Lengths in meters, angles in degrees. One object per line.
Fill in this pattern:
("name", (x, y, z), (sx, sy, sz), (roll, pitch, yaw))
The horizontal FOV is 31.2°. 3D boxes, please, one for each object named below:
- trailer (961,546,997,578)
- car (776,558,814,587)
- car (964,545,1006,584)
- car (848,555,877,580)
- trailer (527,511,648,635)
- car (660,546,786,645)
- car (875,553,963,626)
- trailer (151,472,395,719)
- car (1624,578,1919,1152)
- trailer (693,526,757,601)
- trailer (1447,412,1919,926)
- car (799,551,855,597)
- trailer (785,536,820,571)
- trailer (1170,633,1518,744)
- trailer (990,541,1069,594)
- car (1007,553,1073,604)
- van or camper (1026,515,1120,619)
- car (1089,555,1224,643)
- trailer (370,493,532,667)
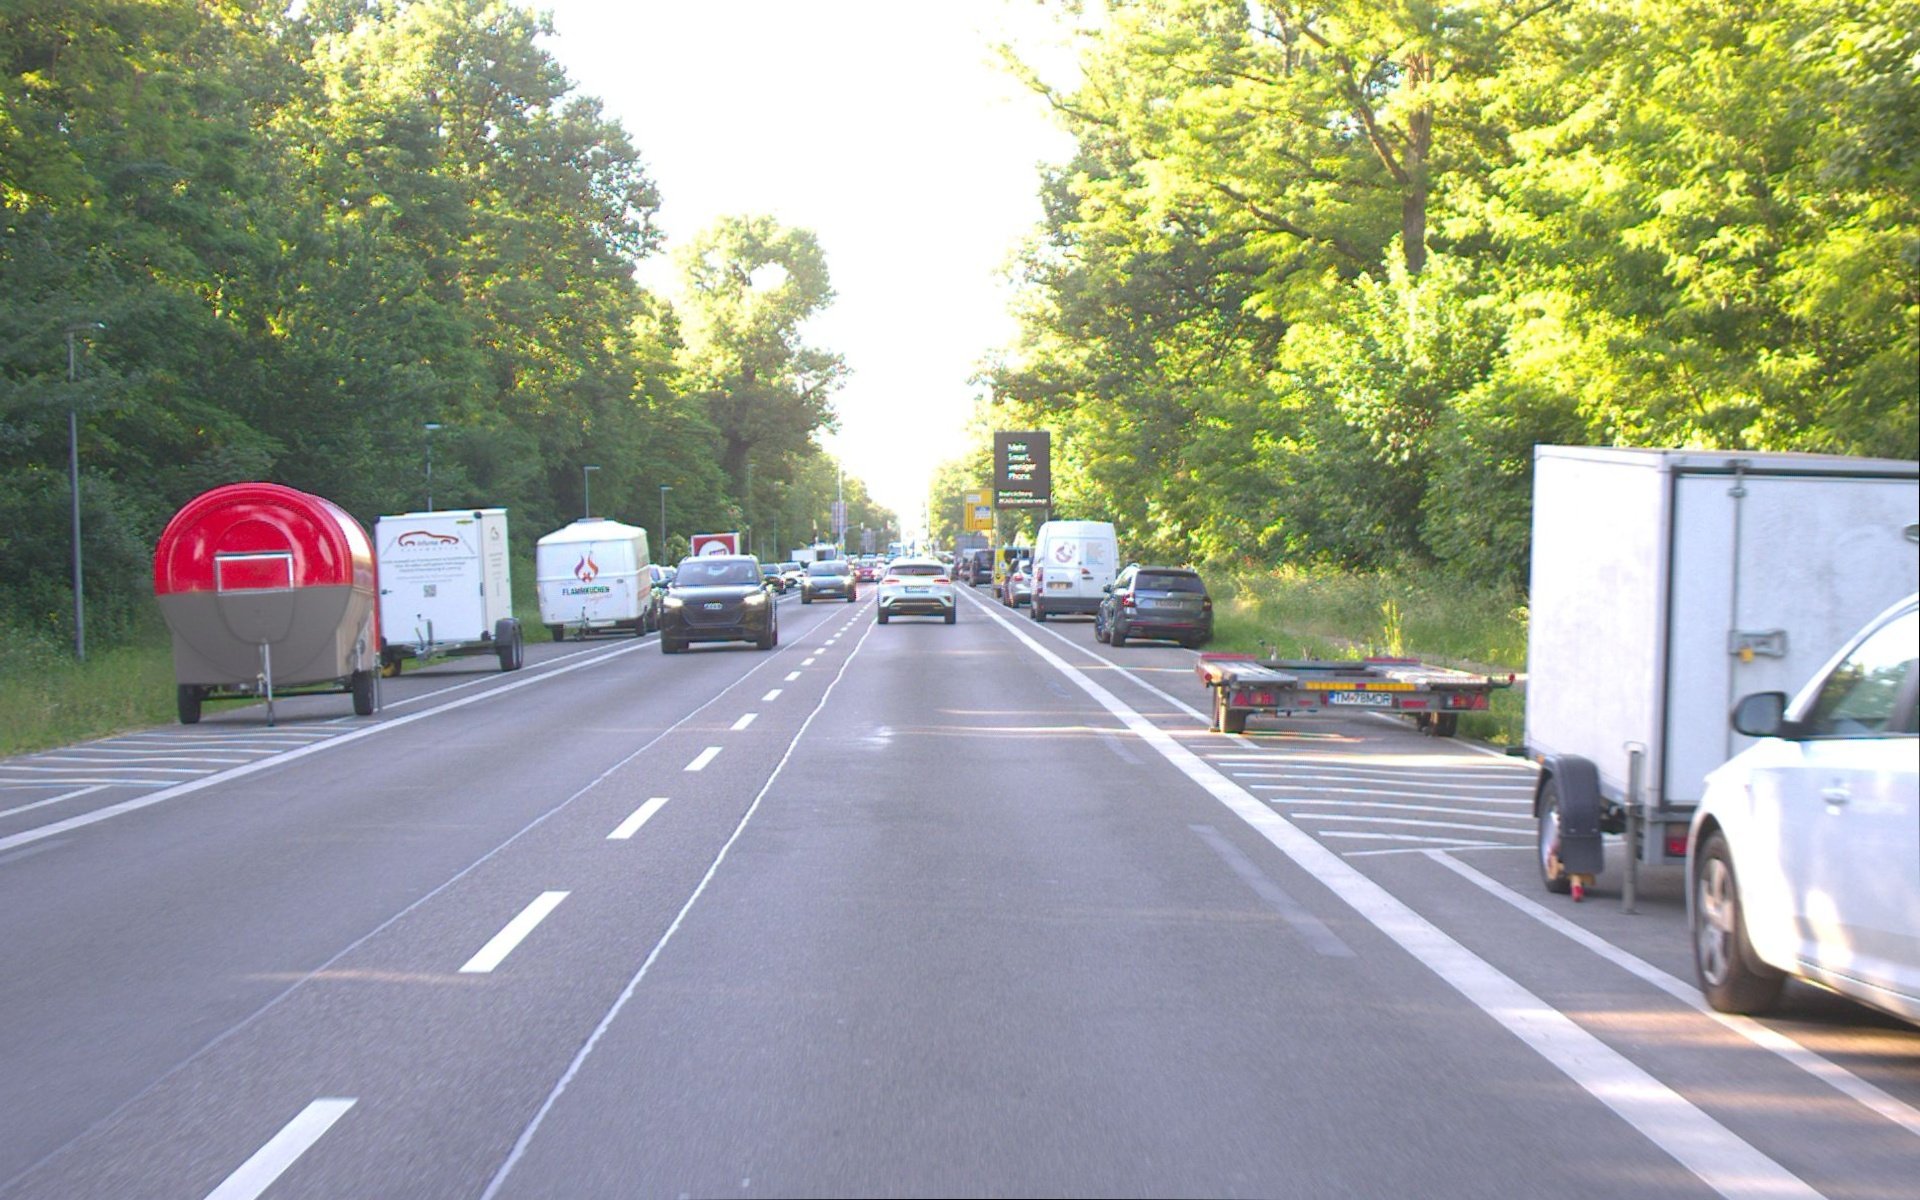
("trailer", (1.267, -2.515, 227.272), (1.616, 2.105, 2.394), (0, 1, 20))
("car", (-9.011, -1.506, 188.059), (1.867, 1.445, 4.071), (-3, 1, 0))
("car", (1.312, -1.907, 183.163), (2.113, 2.007, 5.040), (1, 1, 0))
("car", (-5.773, -1.950, 204.014), (1.604, 1.416, 3.519), (-2, 1, -1))
("trailer", (-7.959, -0.594, 73.818), (2.345, 2.520, 4.345), (-1, 1, -4))
("car", (-4.000, -0.089, 58.586), (1.818, 1.581, 4.459), (-2, 0, 0))
("car", (-0.959, -0.273, 80.520), (1.993, 1.634, 4.000), (-1, 1, -1))
("trailer", (-7.286, -0.067, 36.815), (2.066, 2.472, 3.561), (-1, 1, -4))
("car", (3.421, 0.684, 10.384), (1.887, 1.463, 4.570), (0, 1, -1))
("trailer", (-8.348, -1.303, 122.365), (1.993, 2.612, 4.086), (-1, 1, 0))
("trailer", (3.494, 0.261, 16.277), (1.754, 2.154, 3.540), (-1, 1, -2))
("car", (-4.640, -0.906, 120.505), (1.819, 1.527, 4.530), (-1, 0, -1))
("trailer", (-10.423, -3.068, 227.832), (2.075, 2.285, 3.486), (-2, 1, 1))
("trailer", (3.299, 0.748, 30.815), (2.432, 0.796, 5.660), (0, 0, 0))
("trailer", (2.729, -1.259, 133.779), (1.964, 2.016, 3.840), (0, 1, 19))
("car", (2.436, -0.683, 105.584), (1.734, 1.482, 4.401), (1, 1, -2))
("van or camper", (2.755, -0.829, 85.008), (2.125, 2.474, 6.305), (-1, 1, 0))
("car", (3.472, -0.046, 61.413), (1.834, 1.416, 4.597), (2, 1, -3))
("trailer", (-7.549, -0.312, 51.256), (2.066, 2.472, 3.561), (-1, 1, -4))
